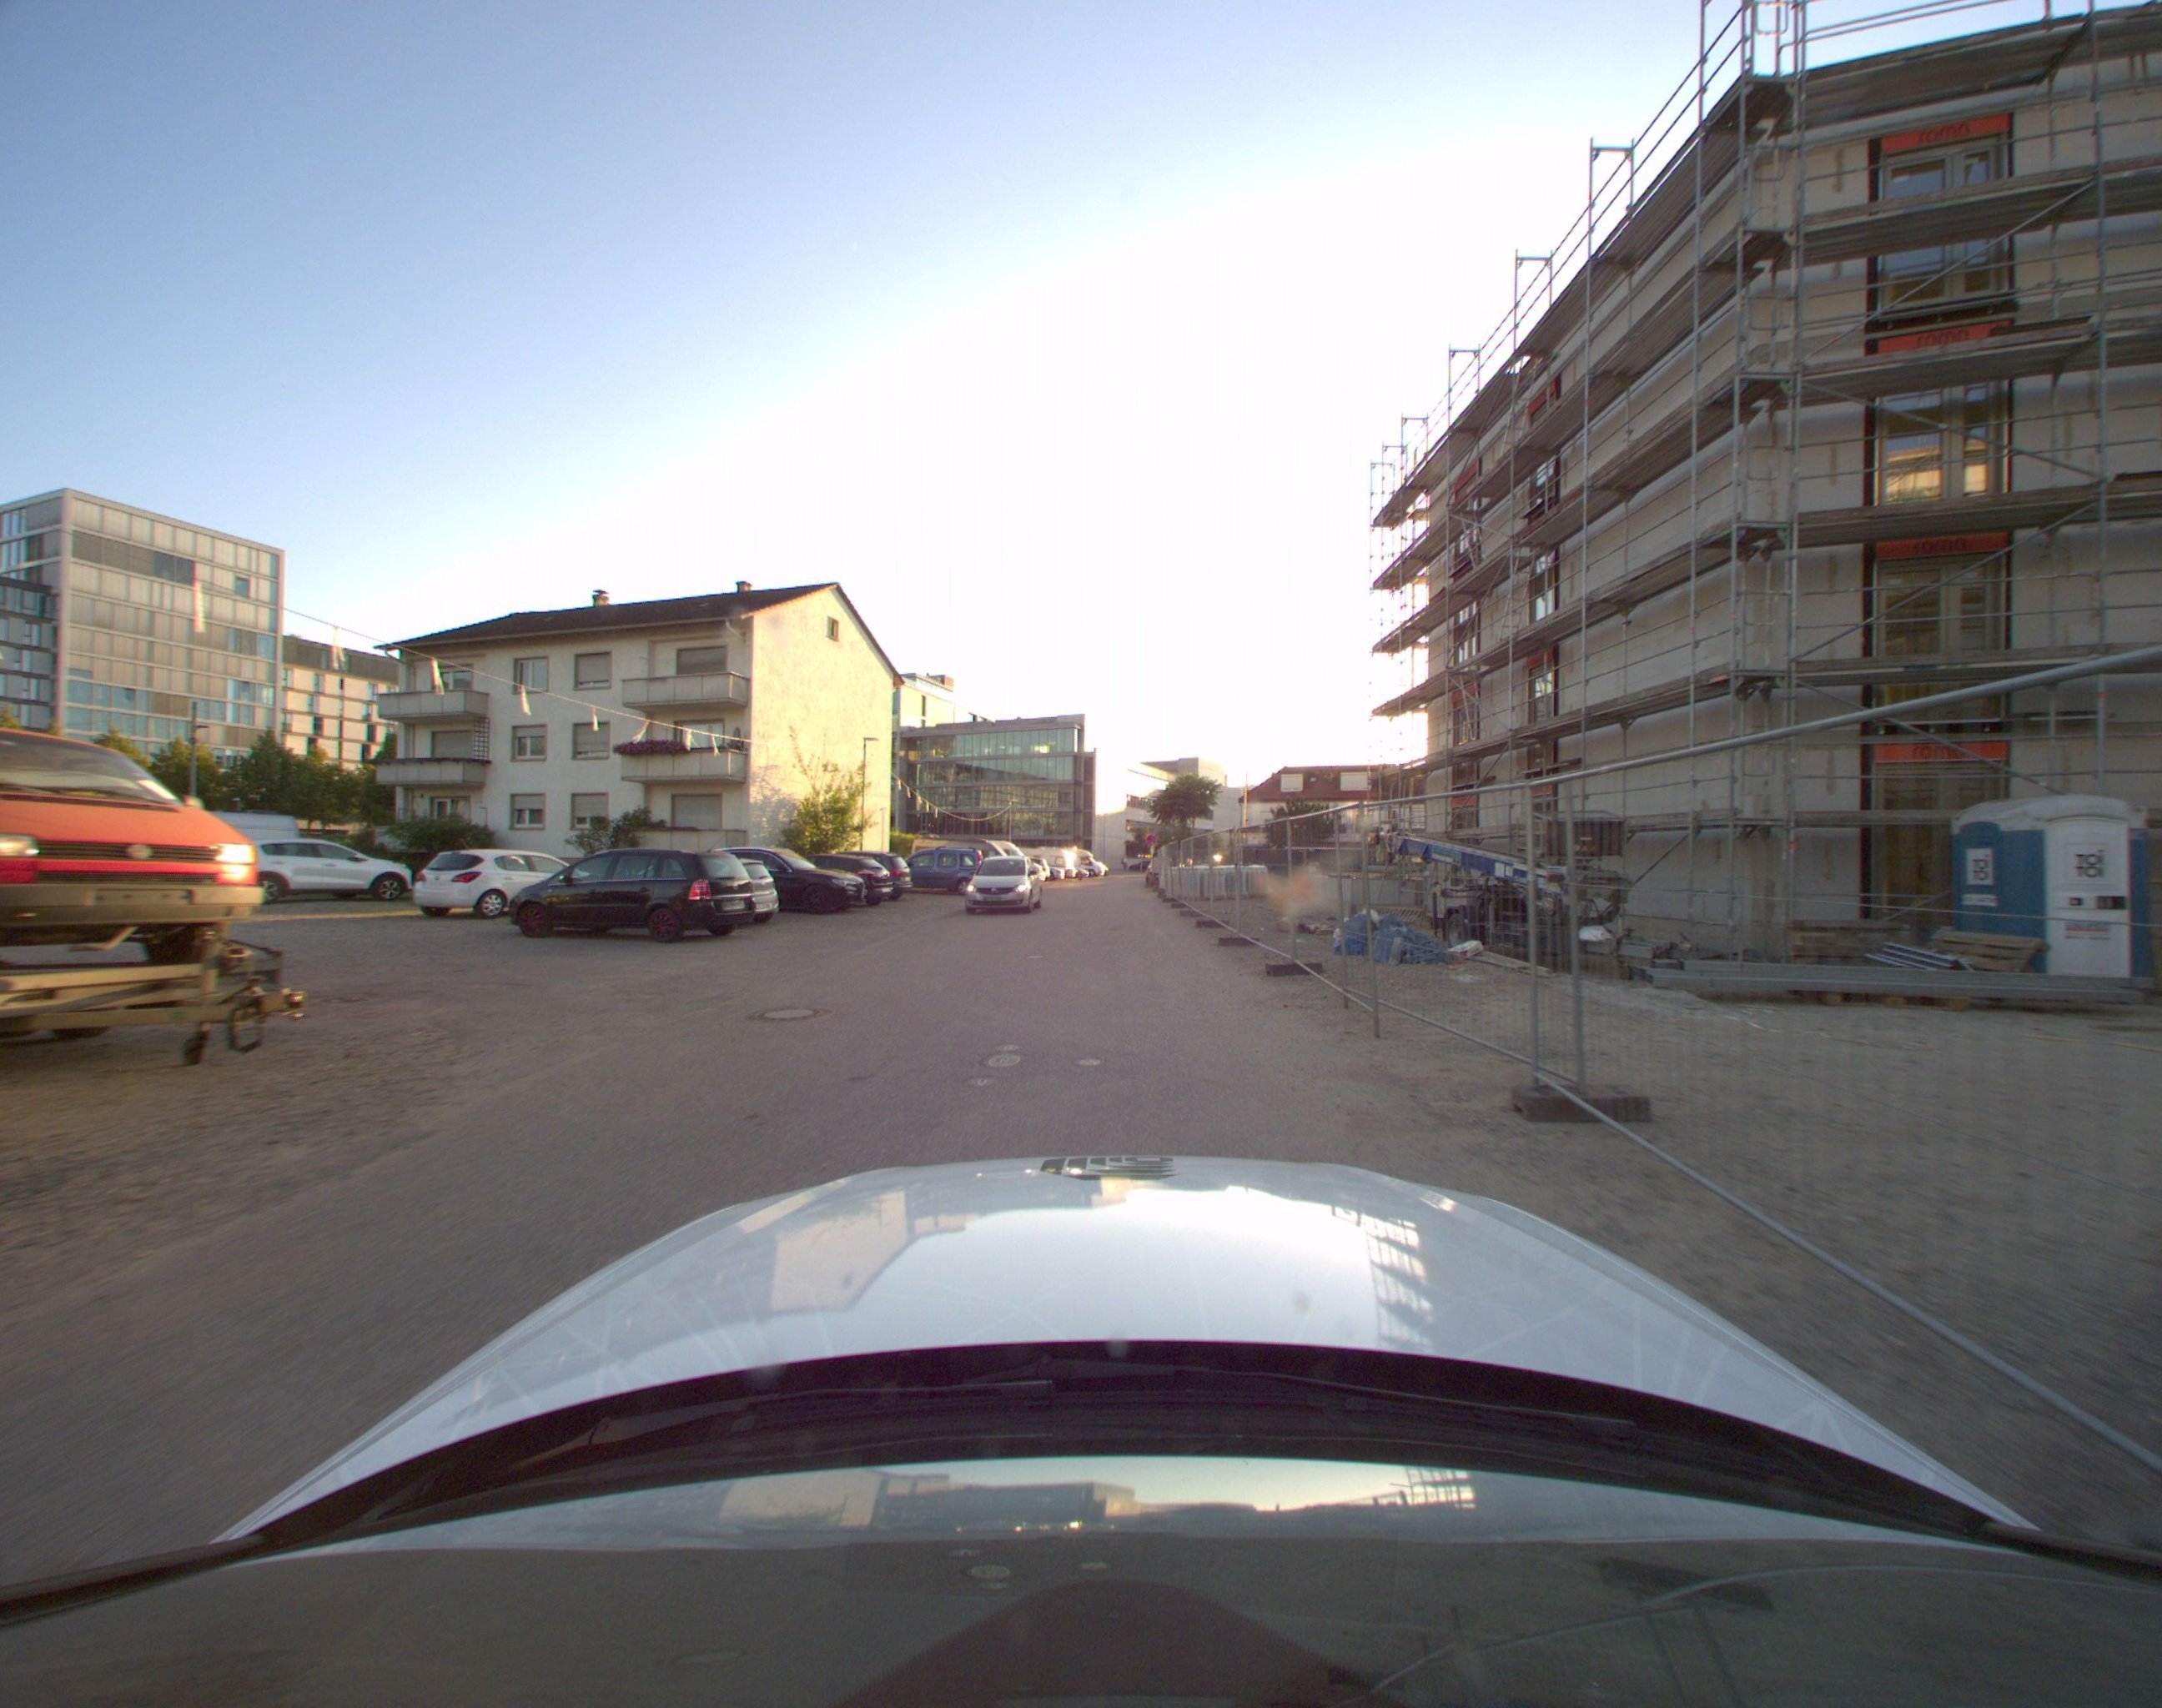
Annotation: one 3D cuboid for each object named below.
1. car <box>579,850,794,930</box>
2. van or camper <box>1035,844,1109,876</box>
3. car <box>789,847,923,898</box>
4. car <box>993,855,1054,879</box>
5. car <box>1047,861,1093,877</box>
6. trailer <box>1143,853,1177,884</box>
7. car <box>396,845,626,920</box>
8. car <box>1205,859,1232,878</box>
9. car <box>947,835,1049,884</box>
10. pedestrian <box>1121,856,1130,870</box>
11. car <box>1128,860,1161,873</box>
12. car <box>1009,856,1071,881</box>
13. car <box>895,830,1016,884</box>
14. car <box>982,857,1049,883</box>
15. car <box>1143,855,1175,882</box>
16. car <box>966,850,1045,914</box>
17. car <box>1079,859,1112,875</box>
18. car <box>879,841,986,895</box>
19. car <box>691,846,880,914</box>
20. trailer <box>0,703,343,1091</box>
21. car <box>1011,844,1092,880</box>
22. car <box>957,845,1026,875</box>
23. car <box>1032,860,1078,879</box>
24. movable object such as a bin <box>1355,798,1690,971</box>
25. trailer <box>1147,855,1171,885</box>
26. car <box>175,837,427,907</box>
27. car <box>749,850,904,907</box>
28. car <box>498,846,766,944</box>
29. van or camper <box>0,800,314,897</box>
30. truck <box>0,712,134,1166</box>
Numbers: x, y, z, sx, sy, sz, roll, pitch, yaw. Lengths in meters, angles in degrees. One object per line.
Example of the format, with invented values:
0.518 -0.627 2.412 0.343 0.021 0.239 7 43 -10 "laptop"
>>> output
-8.648 0.733 17.986 3.900 1.521 1.815 2 1 11 "car"
-0.876 0.541 79.072 6.693 2.898 2.417 1 -1 13 "van or camper"
-7.374 0.583 26.855 3.900 1.580 1.648 1 0 11 "car"
-4.045 0.903 57.810 3.896 1.591 1.755 1 0 16 "car"
-0.976 1.367 73.735 3.783 1.328 1.698 2 0 11 "car"
4.904 0.889 50.260 1.720 1.777 4.949 -1 -1 9 "trailer"
-13.053 0.605 19.005 1.830 1.523 4.166 1 -1 14 "car"
15.657 1.571 92.347 2.048 2.095 4.897 -1 -1 21 "car"
-5.072 0.348 50.148 5.797 2.713 2.054 2 0 5 "car"
5.736 1.155 105.427 0.906 1.850 0.847 0 0 -35 "pedestrian"
7.956 1.518 102.037 3.704 1.482 1.778 1 1 18 "car"
-3.024 1.070 60.349 4.095 1.591 1.755 2 0 16 "car"
-7.046 0.204 46.121 6.366 2.713 2.113 3 -2 0 "car"
-4.187 1.025 52.442 3.903 1.507 1.794 1 -1 8 "car"
5.416 0.993 55.804 1.795 1.725 4.941 -2 -1 9 "car"
-2.051 0.747 23.293 1.664 1.620 4.288 1 -1 2 "car"
1.520 1.321 82.408 1.671 1.519 4.385 1 -1 24 "car"
-5.772 0.551 32.062 3.919 1.911 1.745 2 0 -6 "car"
-7.433 0.622 20.720 4.070 1.628 1.823 0 0 5 "car"
-8.996 0.234 6.339 4.764 2.433 2.139 2 -2 9 "trailer"
-2.339 0.659 65.220 5.846 2.534 2.420 2 -2 14 "car"
-8.670 0.545 78.788 6.193 2.673 2.233 2 0 18 "car"
-2.202 1.278 68.799 3.607 1.519 1.710 2 0 9 "car"
7.234 0.437 14.945 2.056 2.274 8.375 0 0 4 "movable object such as a bin"
4.409 0.902 46.511 1.245 1.665 2.806 -1 -1 4 "trailer"
-20.049 0.440 21.224 1.829 1.631 4.336 1 -1 18 "car"
-7.303 0.687 23.538 3.900 1.517 1.648 1 -2 11 "car"
-8.169 0.699 14.991 4.010 1.620 1.855 1 -1 11 "car"
-25.760 -0.112 23.001 1.829 2.393 5.709 1 -1 18 "van or camper"
-7.907 0.336 3.170 5.983 2.043 2.359 1 -1 5 "truck"
